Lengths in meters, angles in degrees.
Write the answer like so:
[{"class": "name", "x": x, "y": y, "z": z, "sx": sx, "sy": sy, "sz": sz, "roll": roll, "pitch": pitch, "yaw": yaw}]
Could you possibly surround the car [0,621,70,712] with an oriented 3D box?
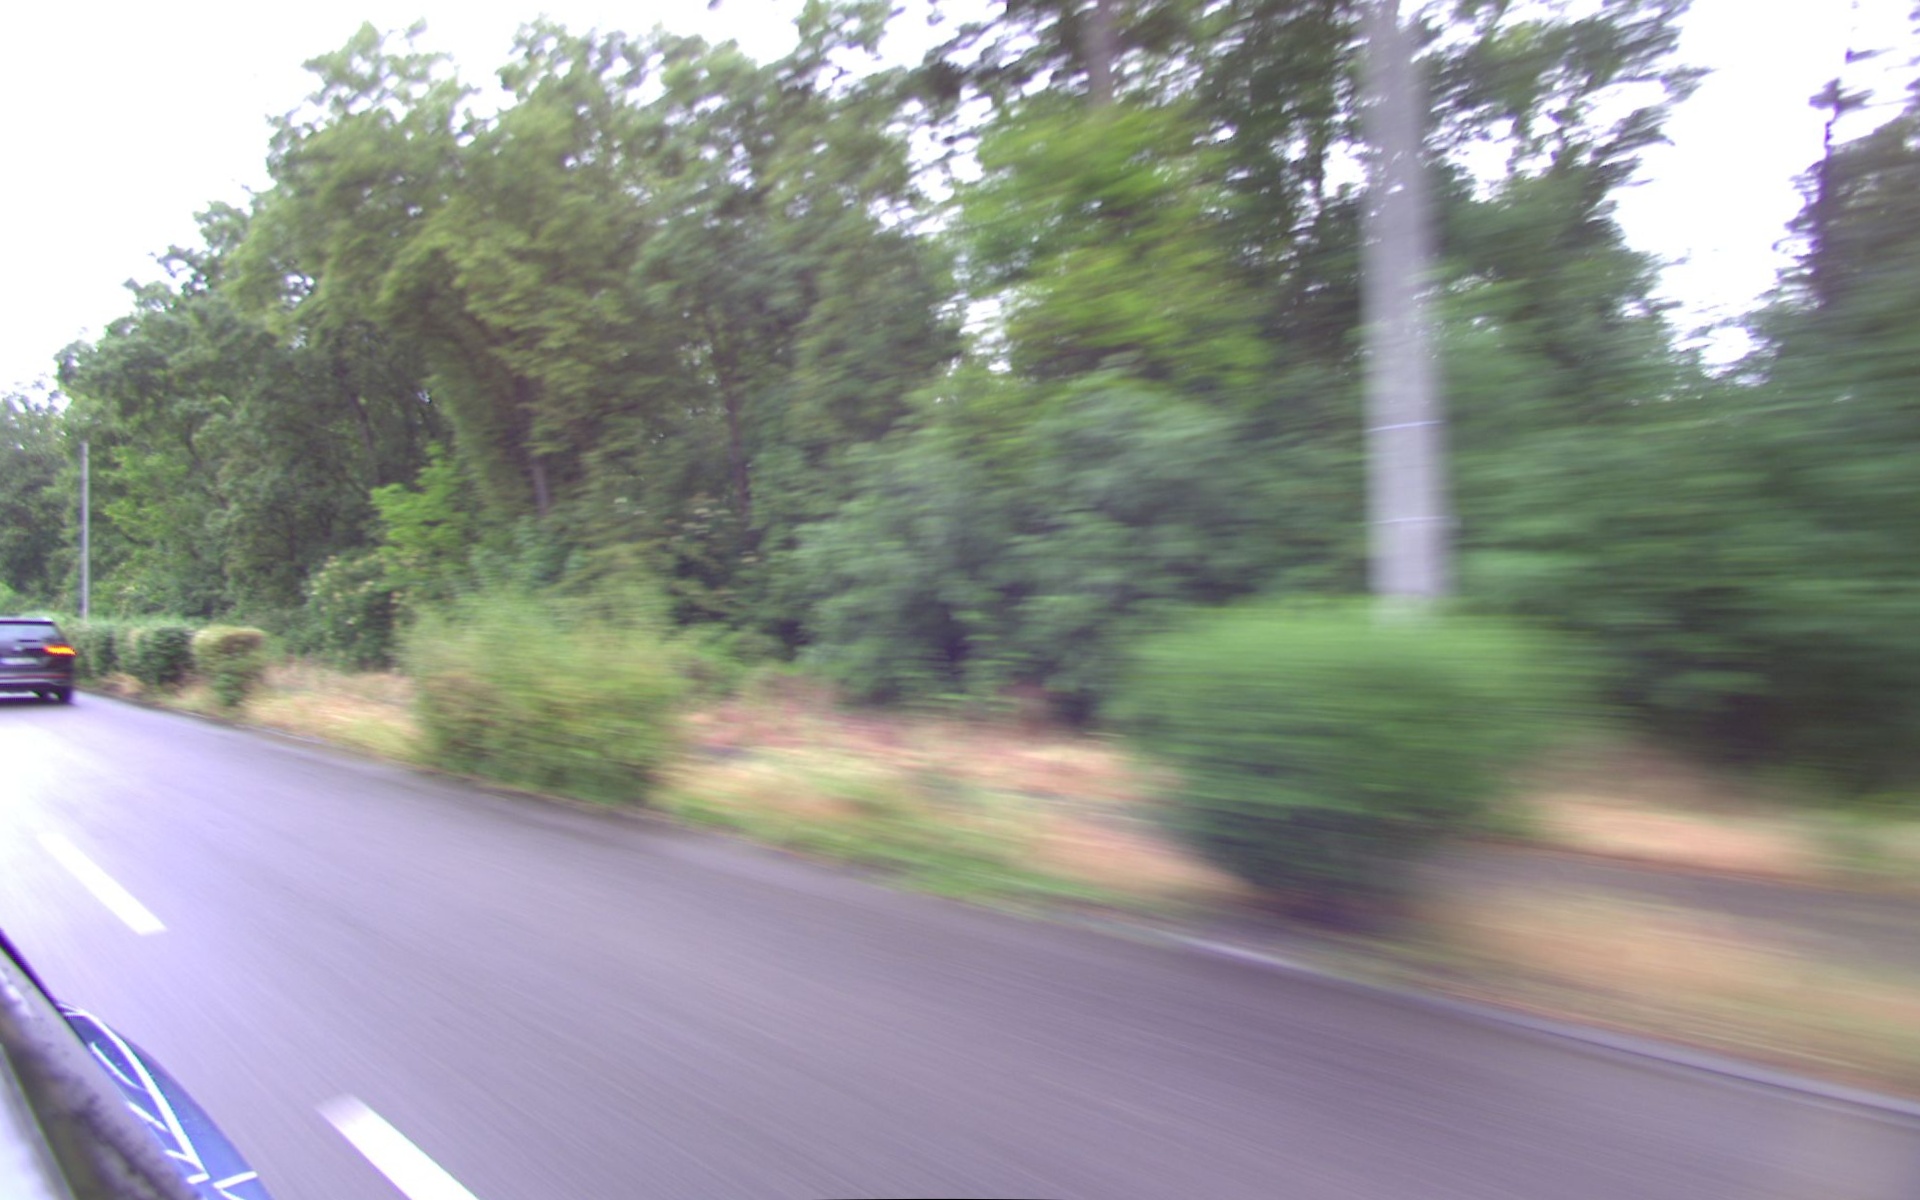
[{"class": "car", "x": -18.687, "y": 1.242, "z": 19.553, "sx": 4.059, "sy": 1.630, "sz": 1.659, "roll": -2, "pitch": -3, "yaw": 40}]
